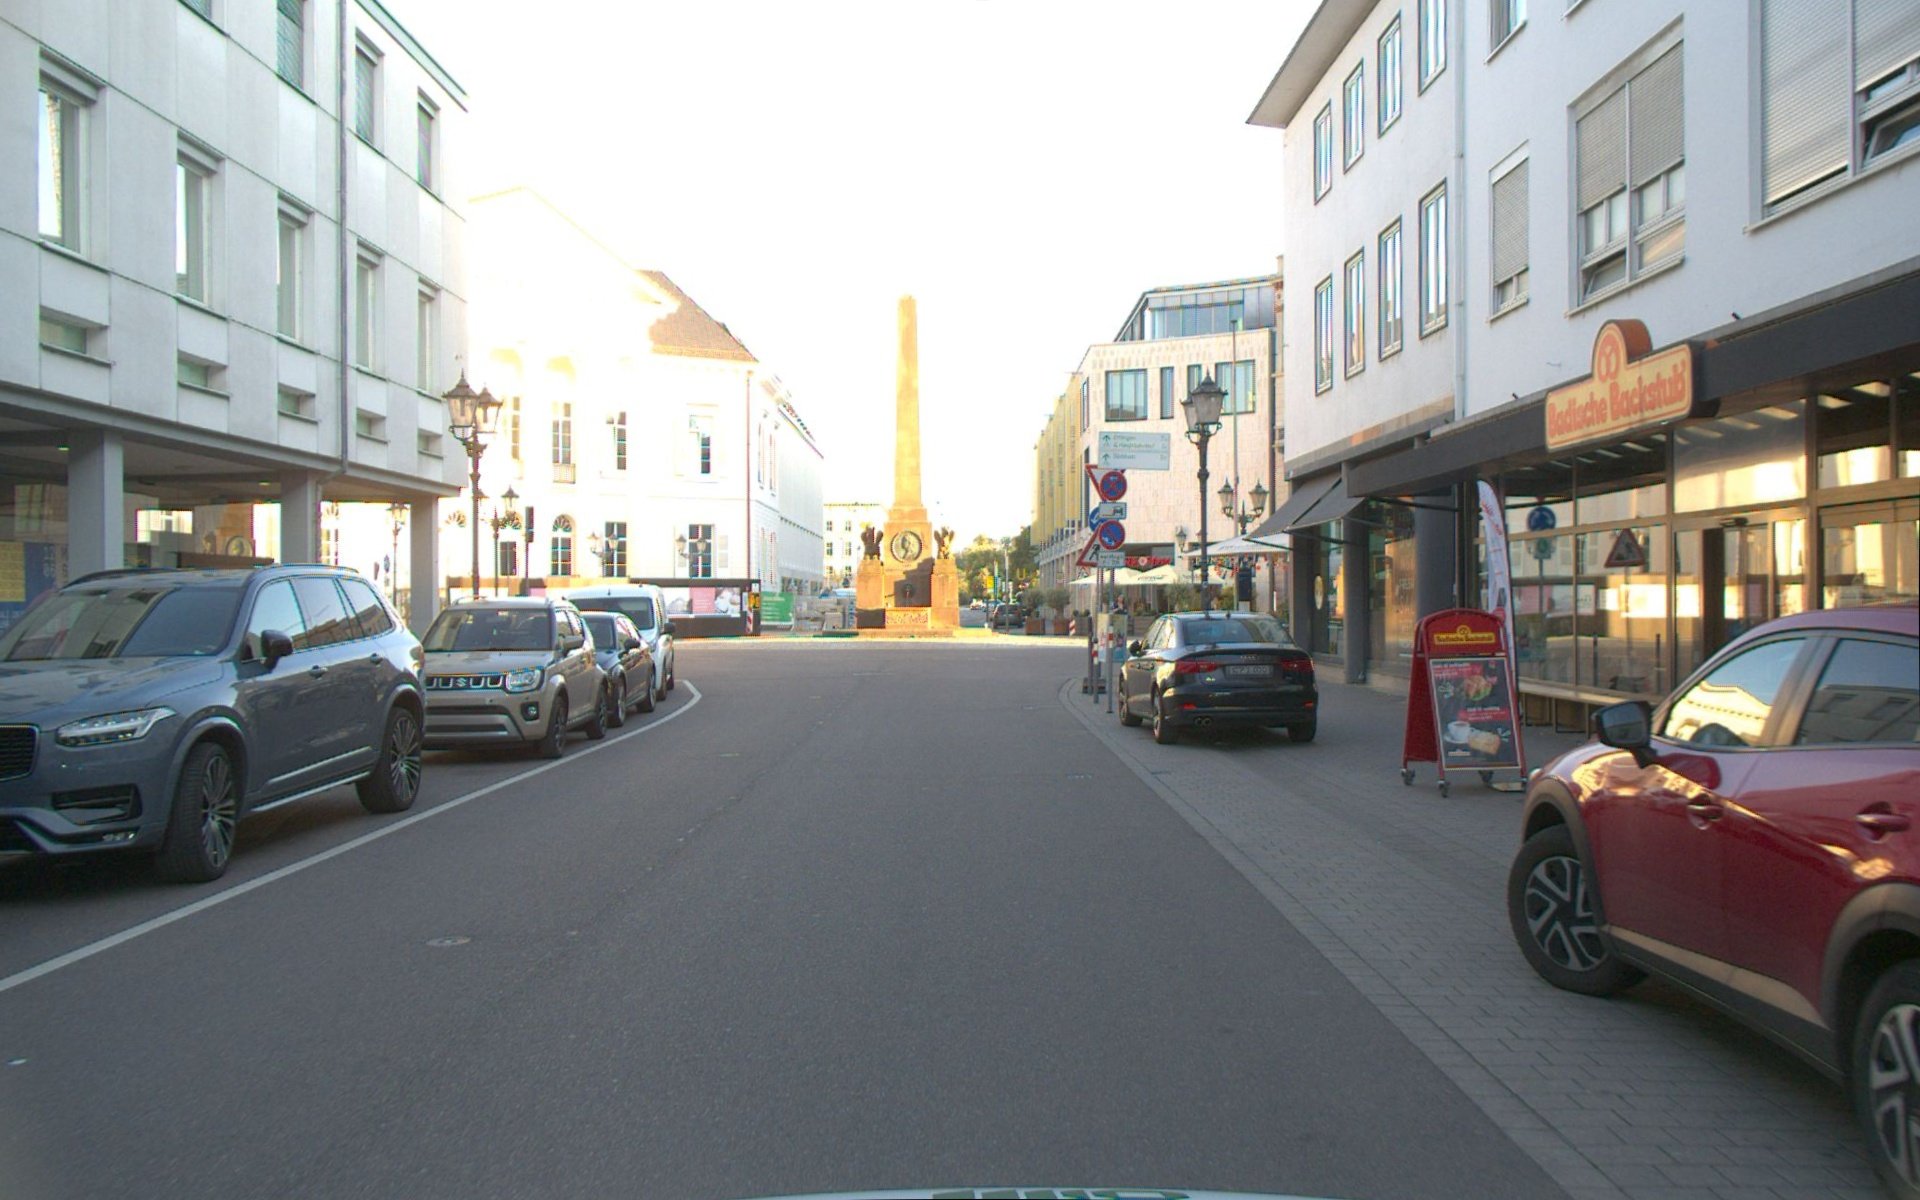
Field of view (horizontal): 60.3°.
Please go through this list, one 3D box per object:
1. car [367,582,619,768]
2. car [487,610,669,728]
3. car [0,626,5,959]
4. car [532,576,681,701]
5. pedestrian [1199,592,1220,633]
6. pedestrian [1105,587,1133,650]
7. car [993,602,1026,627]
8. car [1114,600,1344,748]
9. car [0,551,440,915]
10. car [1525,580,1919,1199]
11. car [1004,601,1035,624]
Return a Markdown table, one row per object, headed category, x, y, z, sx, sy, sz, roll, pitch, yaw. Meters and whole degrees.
| category | x | y | z | sx | sy | sz | roll | pitch | yaw |
| --- | --- | --- | --- | --- | --- | --- | --- | --- | --- |
| car | -4.750 | 0.693 | 17.403 | 1.956 | 1.691 | 3.993 | -1 | 0 | -7 |
| car | -4.972 | 0.846 | 22.052 | 1.644 | 1.377 | 4.103 | 0 | 0 | -3 |
| car | -4.918 | 0.844 | 5.115 | 1.639 | 1.424 | 3.999 | -1 | 0 | -1 |
| car | -5.645 | 0.568 | 26.954 | 1.956 | 1.847 | 4.776 | 0 | 0 | -7 |
| pedestrian | 10.754 | 0.529 | 71.376 | 0.885 | 1.759 | 0.850 | -1 | 0 | 8 |
| pedestrian | 4.322 | 0.498 | 45.053 | 0.676 | 1.676 | 0.695 | -1 | 0 | -1 |
| car | 2.984 | 0.873 | 100.504 | 1.952 | 1.489 | 4.001 | 0 | 0 | 1 |
| car | 2.949 | 0.757 | 18.996 | 1.765 | 1.489 | 4.114 | -1 | 0 | -3 |
| car | -4.973 | 0.664 | 10.338 | 1.953 | 1.758 | 4.516 | -2 | 0 | 0 |
| car | 3.202 | 0.721 | 5.045 | 1.723 | 1.550 | 3.677 | 0 | 0 | 0 |
| car | 3.889 | 0.833 | 108.979 | 1.952 | 1.489 | 4.001 | 0 | 0 | 1 |
